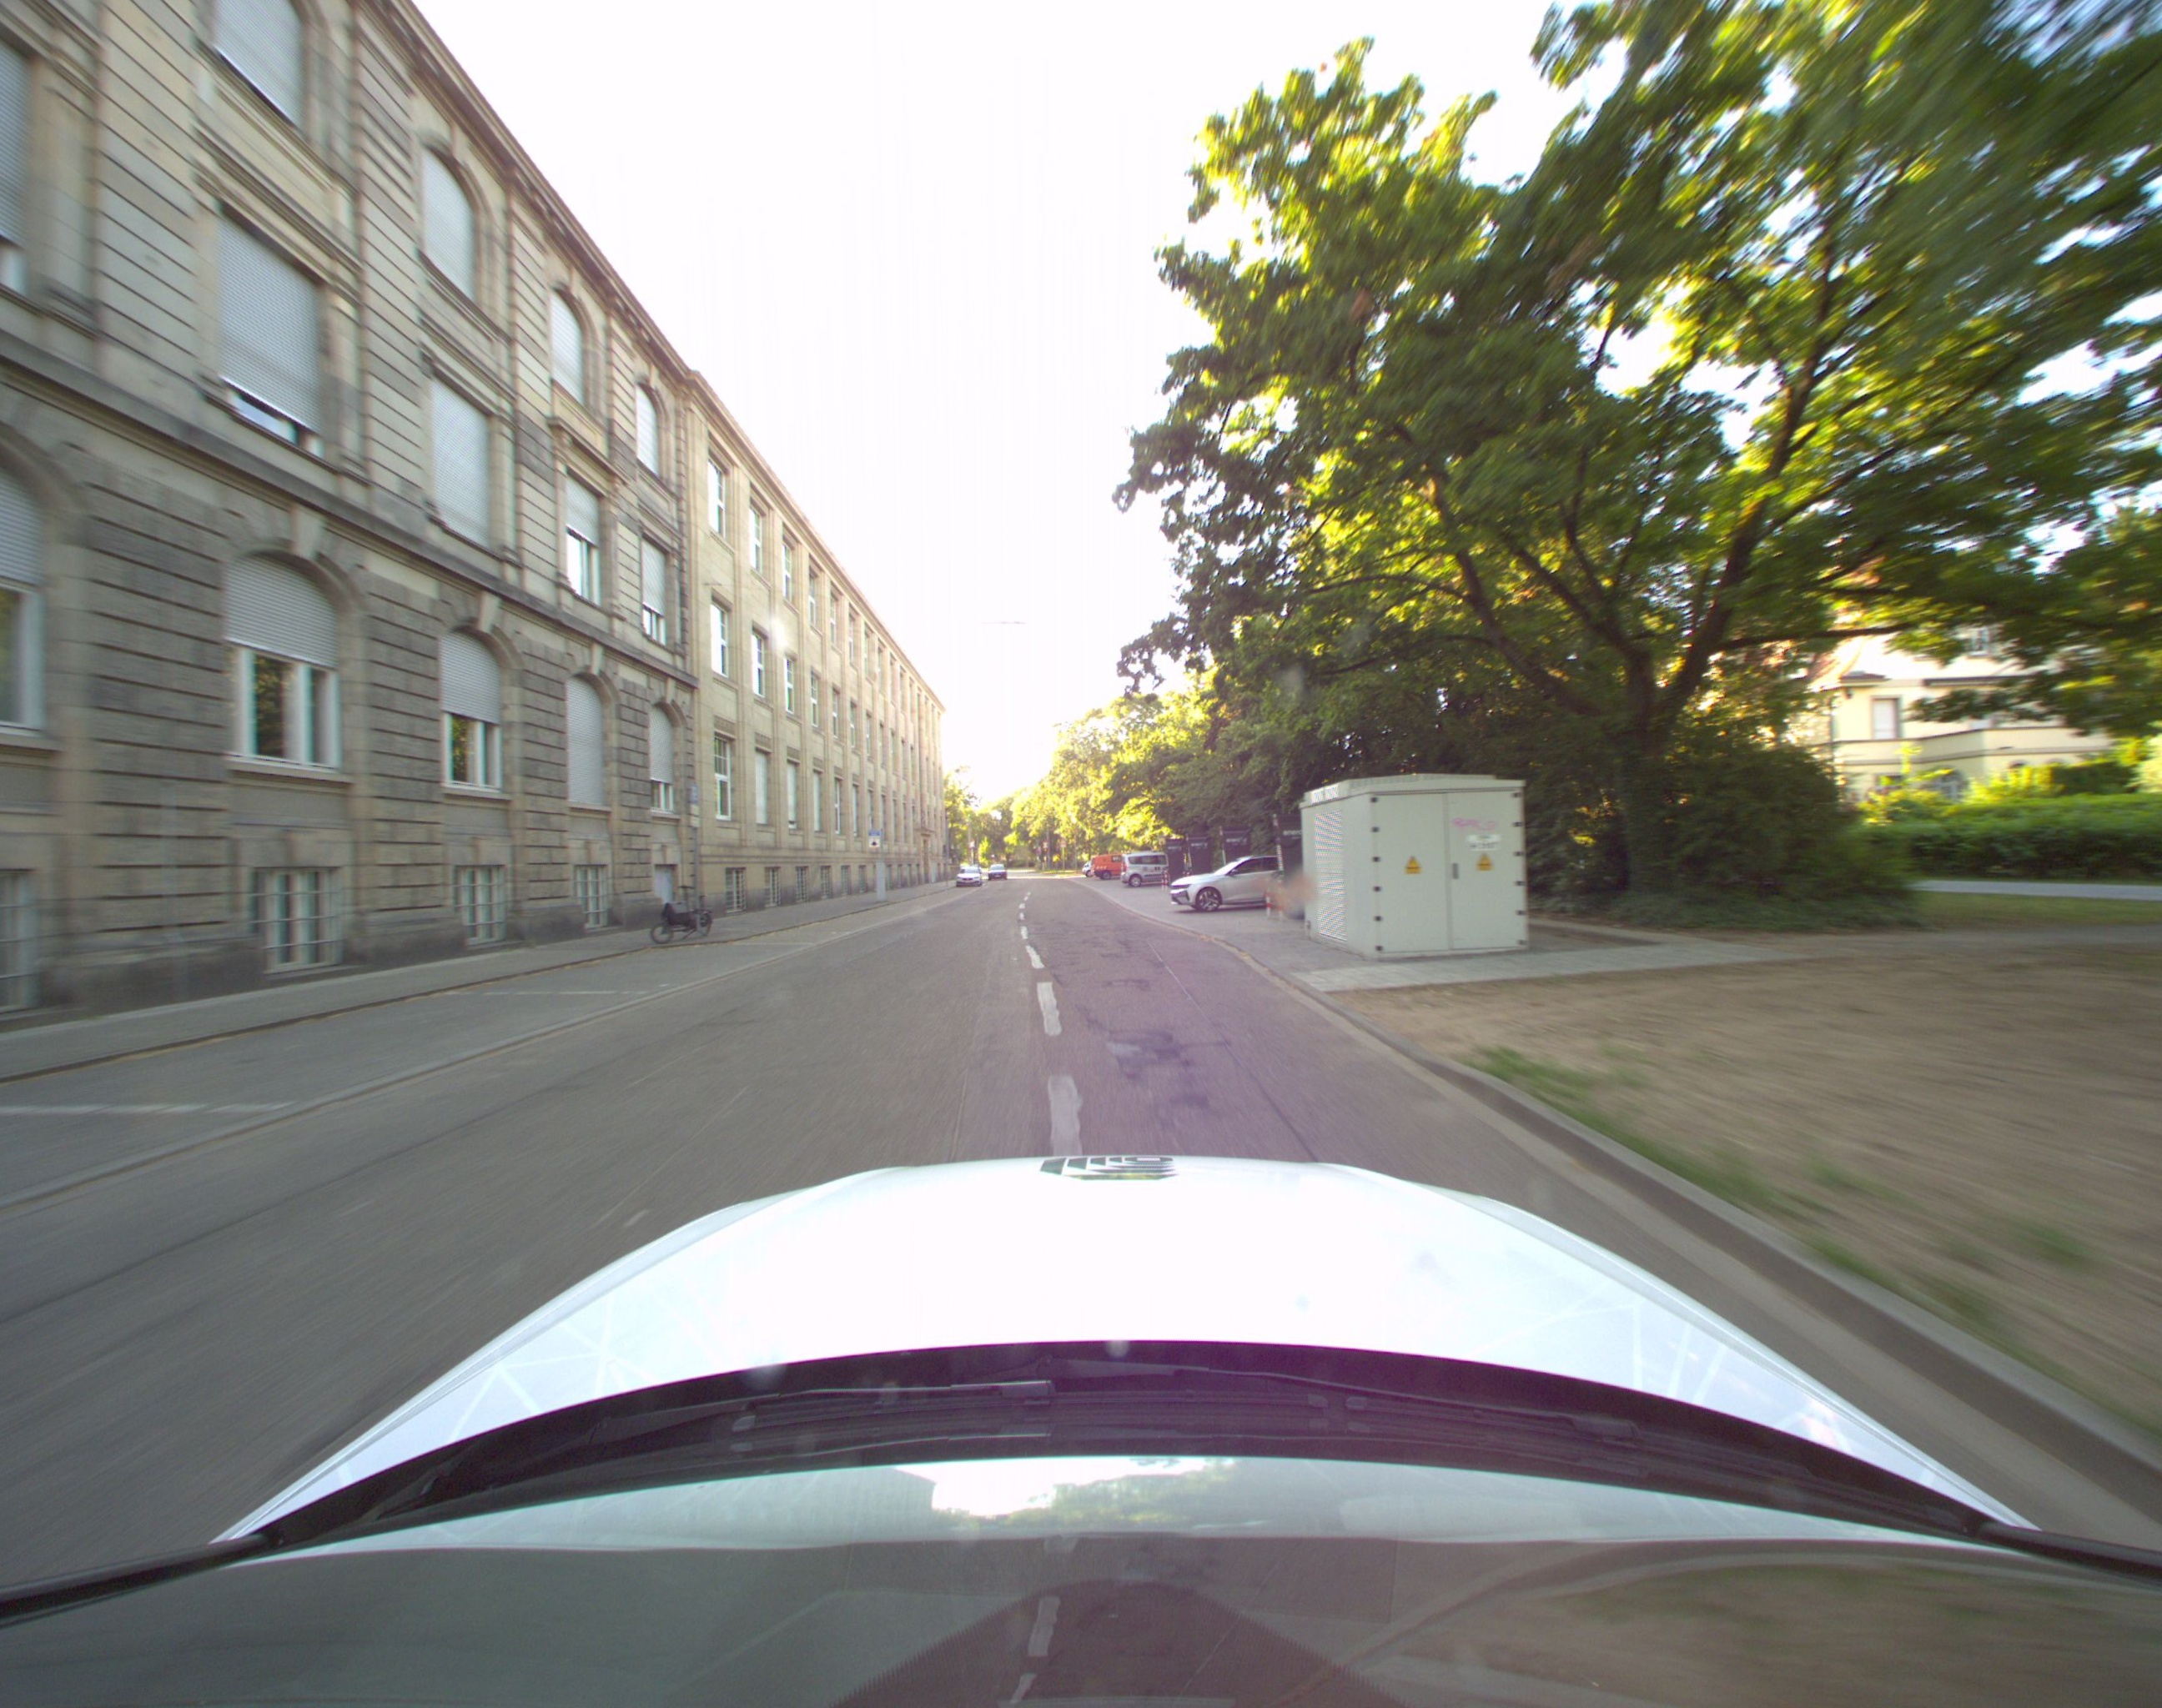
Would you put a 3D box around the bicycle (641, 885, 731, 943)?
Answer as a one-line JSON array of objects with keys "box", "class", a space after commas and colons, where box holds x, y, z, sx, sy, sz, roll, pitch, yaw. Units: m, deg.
[{"box": [-8.218, 1.221, 17.057, 0.849, 1.101, 1.983, 0, -1, 2], "class": "bicycle"}]

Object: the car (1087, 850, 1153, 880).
[{"box": [3.073, 0.846, 64.277, 4.817, 2.013, 1.796, -4, -1, -9], "class": "car"}]

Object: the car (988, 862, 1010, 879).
[{"box": [-7.786, 1.578, 77.631, 1.876, 1.466, 4.365, -2, 0, -5], "class": "car"}]

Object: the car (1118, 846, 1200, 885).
[{"box": [4.247, 0.658, 44.929, 4.217, 1.859, 1.999, -3, -1, -2], "class": "car"}]

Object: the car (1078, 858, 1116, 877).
[{"box": [1.466, 1.264, 74.675, 3.143, 1.503, 1.536, -4, -1, -9], "class": "car"}]

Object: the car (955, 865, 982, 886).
[{"box": [-8.312, 1.573, 60.527, 1.724, 1.397, 4.365, -2, -1, -5], "class": "car"}]

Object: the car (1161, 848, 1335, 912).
[{"box": [4.608, 0.695, 22.817, 4.431, 1.469, 1.780, -3, -1, -3], "class": "car"}]
